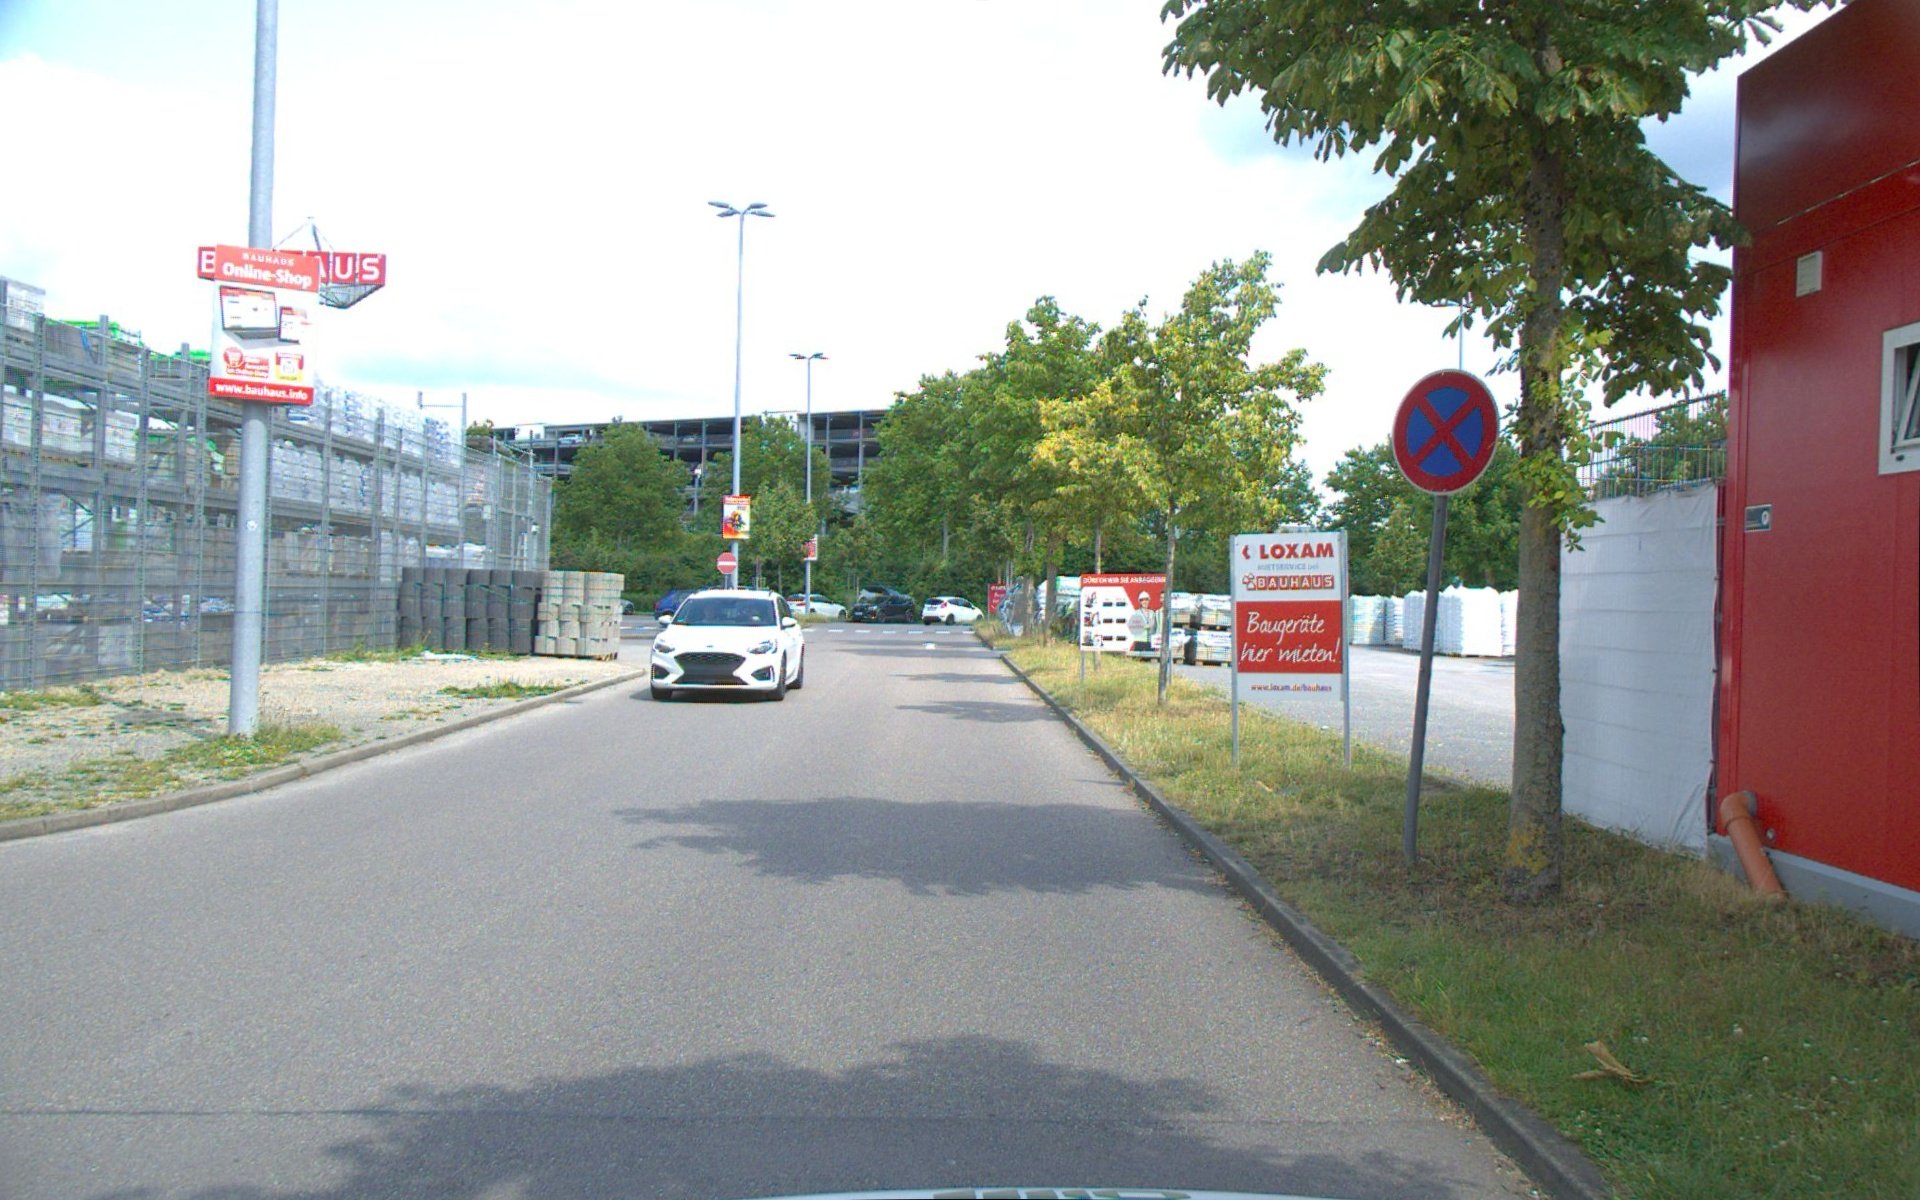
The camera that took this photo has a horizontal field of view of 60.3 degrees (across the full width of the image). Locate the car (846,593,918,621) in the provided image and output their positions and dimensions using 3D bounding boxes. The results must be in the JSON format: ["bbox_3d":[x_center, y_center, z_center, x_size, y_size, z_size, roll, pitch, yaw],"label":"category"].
[{"bbox_3d":[-4.163,0.361,88.884,1.697,1.435,4.230,1,0,33],"label":"car"}]

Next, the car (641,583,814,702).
[{"bbox_3d":[-3.189,0.532,23.475,1.766,1.490,4.329,2,0,1],"label":"car"}]

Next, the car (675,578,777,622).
[{"bbox_3d":[-9.548,-0.002,67.615,3.869,1.653,1.736,1,0,1],"label":"car"}]

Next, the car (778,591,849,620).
[{"bbox_3d":[-8.031,0.326,91.177,1.656,1.536,4.066,-2,-2,36],"label":"car"}]

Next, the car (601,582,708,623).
[{"bbox_3d":[-11.341,0.086,61.573,3.674,1.392,1.621,2,0,-1],"label":"car"}]

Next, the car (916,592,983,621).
[{"bbox_3d":[-0.548,0.351,85.780,1.638,1.436,3.541,1,0,38],"label":"car"}]
